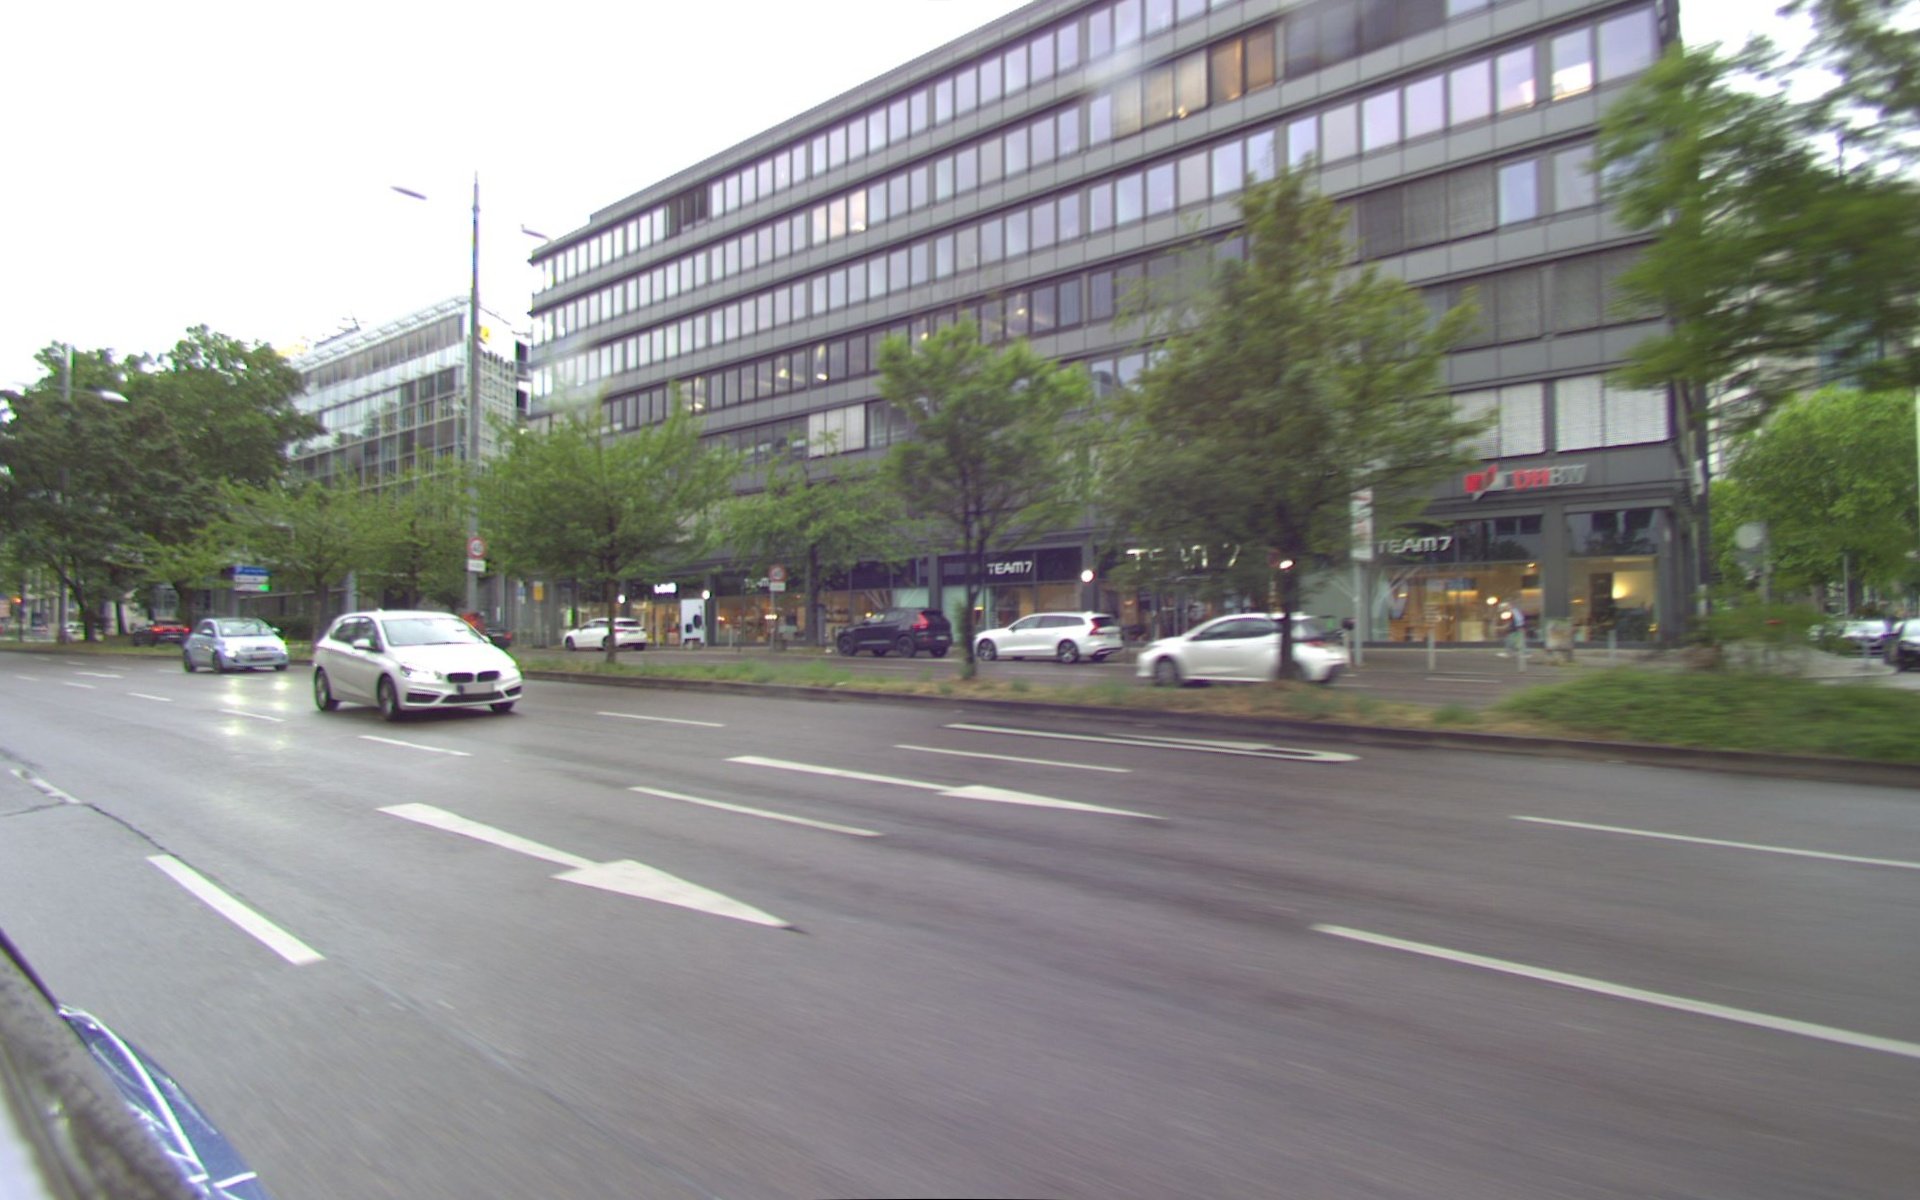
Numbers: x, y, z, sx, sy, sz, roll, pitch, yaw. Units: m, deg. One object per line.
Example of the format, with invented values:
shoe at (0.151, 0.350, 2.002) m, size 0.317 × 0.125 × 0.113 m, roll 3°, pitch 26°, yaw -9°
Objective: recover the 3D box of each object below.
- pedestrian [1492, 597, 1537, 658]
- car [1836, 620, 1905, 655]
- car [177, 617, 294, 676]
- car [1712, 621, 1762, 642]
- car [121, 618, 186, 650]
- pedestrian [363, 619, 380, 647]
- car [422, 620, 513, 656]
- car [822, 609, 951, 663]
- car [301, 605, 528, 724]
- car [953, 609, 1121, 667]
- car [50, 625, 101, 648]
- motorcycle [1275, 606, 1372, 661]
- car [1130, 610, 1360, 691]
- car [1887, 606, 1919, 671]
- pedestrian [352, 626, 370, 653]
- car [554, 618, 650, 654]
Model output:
pedestrian at (15.475, 0.762, 28.239) m, size 0.964 × 1.650 × 0.776 m, roll -1°, pitch -1°, yaw 38°
car at (38.581, 1.563, 42.949) m, size 1.844 × 1.298 × 3.949 m, roll -1°, pitch 0°, yaw 38°
car at (-20.658, 1.284, 28.814) m, size 3.686 × 1.585 × 1.766 m, roll -1°, pitch -1°, yaw 38°
car at (60.792, 2.437, 79.265) m, size 1.795 × 1.464 × 3.977 m, roll -1°, pitch 0°, yaw 17°
car at (-46.947, 1.937, 58.907) m, size 4.709 × 1.527 × 1.792 m, roll 3°, pitch 1°, yaw 36°
pedestrian at (-39.850, 2.246, 68.533) m, size 0.923 × 1.846 × 0.720 m, roll -1°, pitch 0°, yaw 38°
car at (-21.357, 1.628, 43.853) m, size 4.293 × 1.487 × 1.792 m, roll -1°, pitch -1°, yaw 36°
car at (-2.525, 1.160, 34.023) m, size 4.306 × 1.673 × 1.790 m, roll -1°, pitch 0°, yaw 40°
car at (-8.520, 0.911, 15.647) m, size 4.286 × 1.585 × 1.764 m, roll -1°, pitch -1°, yaw 42°
car at (2.235, 1.084, 30.147) m, size 4.767 × 1.496 × 1.791 m, roll -1°, pitch 2°, yaw 39°
car at (-59.893, 2.463, 68.547) m, size 4.304 × 1.445 × 1.712 m, roll -1°, pitch -1°, yaw 36°
motorcycle at (9.757, 0.904, 27.259) m, size 2.345 × 1.404 × 0.856 m, roll -1°, pitch 2°, yaw 12°
car at (5.577, 0.939, 20.042) m, size 4.076 × 1.442 × 1.667 m, roll -1°, pitch -1°, yaw 37°
car at (26.681, 1.009, 27.401) m, size 1.997 × 1.652 × 3.949 m, roll -1°, pitch 0°, yaw 38°
pedestrian at (-40.253, 2.652, 67.996) m, size 0.923 × 1.812 × 0.720 m, roll -1°, pitch 0°, yaw 38°
car at (-15.629, 1.565, 44.075) m, size 4.300 × 1.455 × 1.793 m, roll -1°, pitch 0°, yaw 36°
